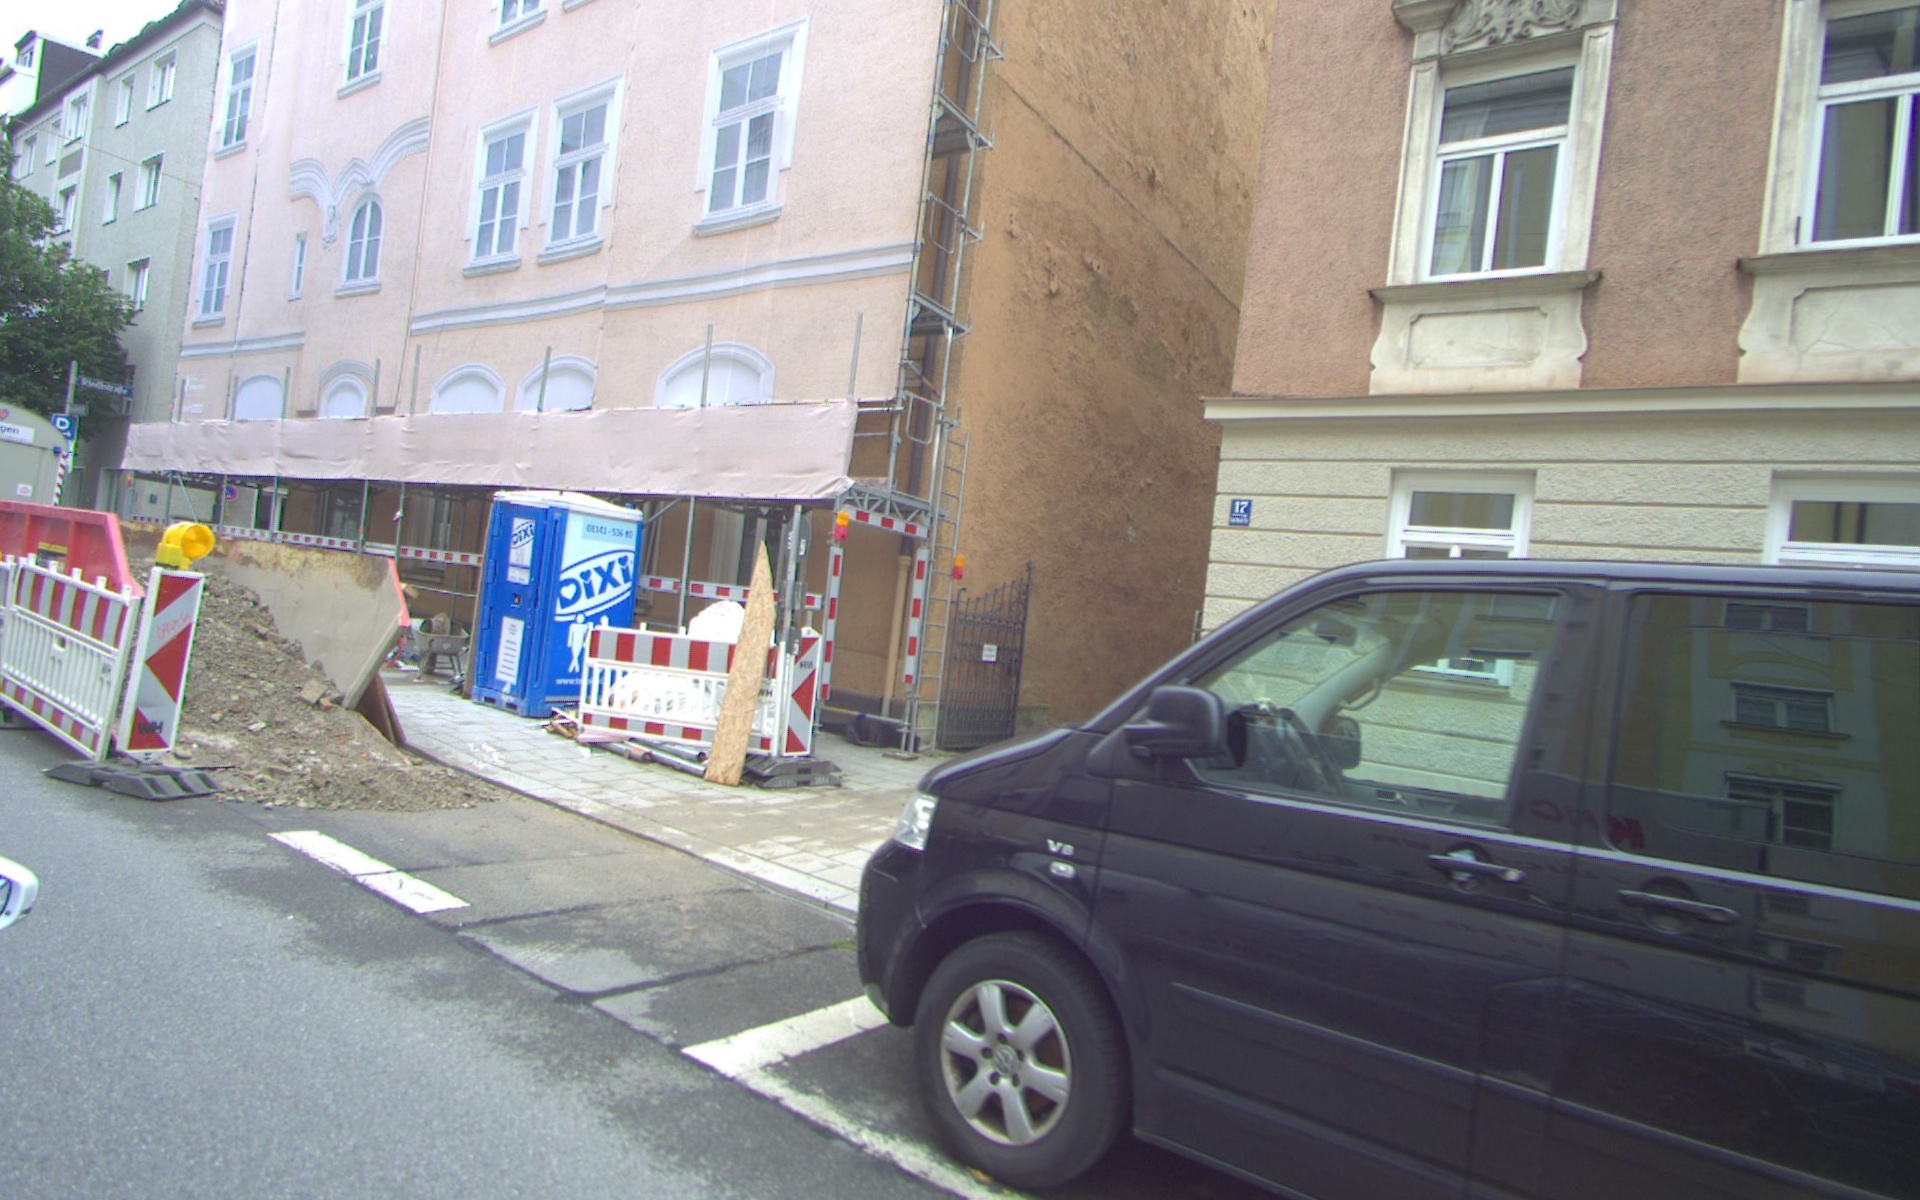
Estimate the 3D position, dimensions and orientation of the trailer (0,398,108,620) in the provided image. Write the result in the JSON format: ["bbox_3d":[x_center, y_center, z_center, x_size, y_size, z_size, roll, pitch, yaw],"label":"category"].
[{"bbox_3d":[-15.884,-1.570,15.263,6.791,2.872,2.506,6,-3,34],"label":"trailer"}]

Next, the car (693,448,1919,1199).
[{"bbox_3d":[1.853,0.809,2.778,5.062,1.942,2.085,3,-4,35],"label":"car"}]

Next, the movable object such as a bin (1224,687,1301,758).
[{"bbox_3d":[5.441,2.186,18.058,0.819,1.122,1.245,7,-1,37],"label":"movable object such as a bin"}]
